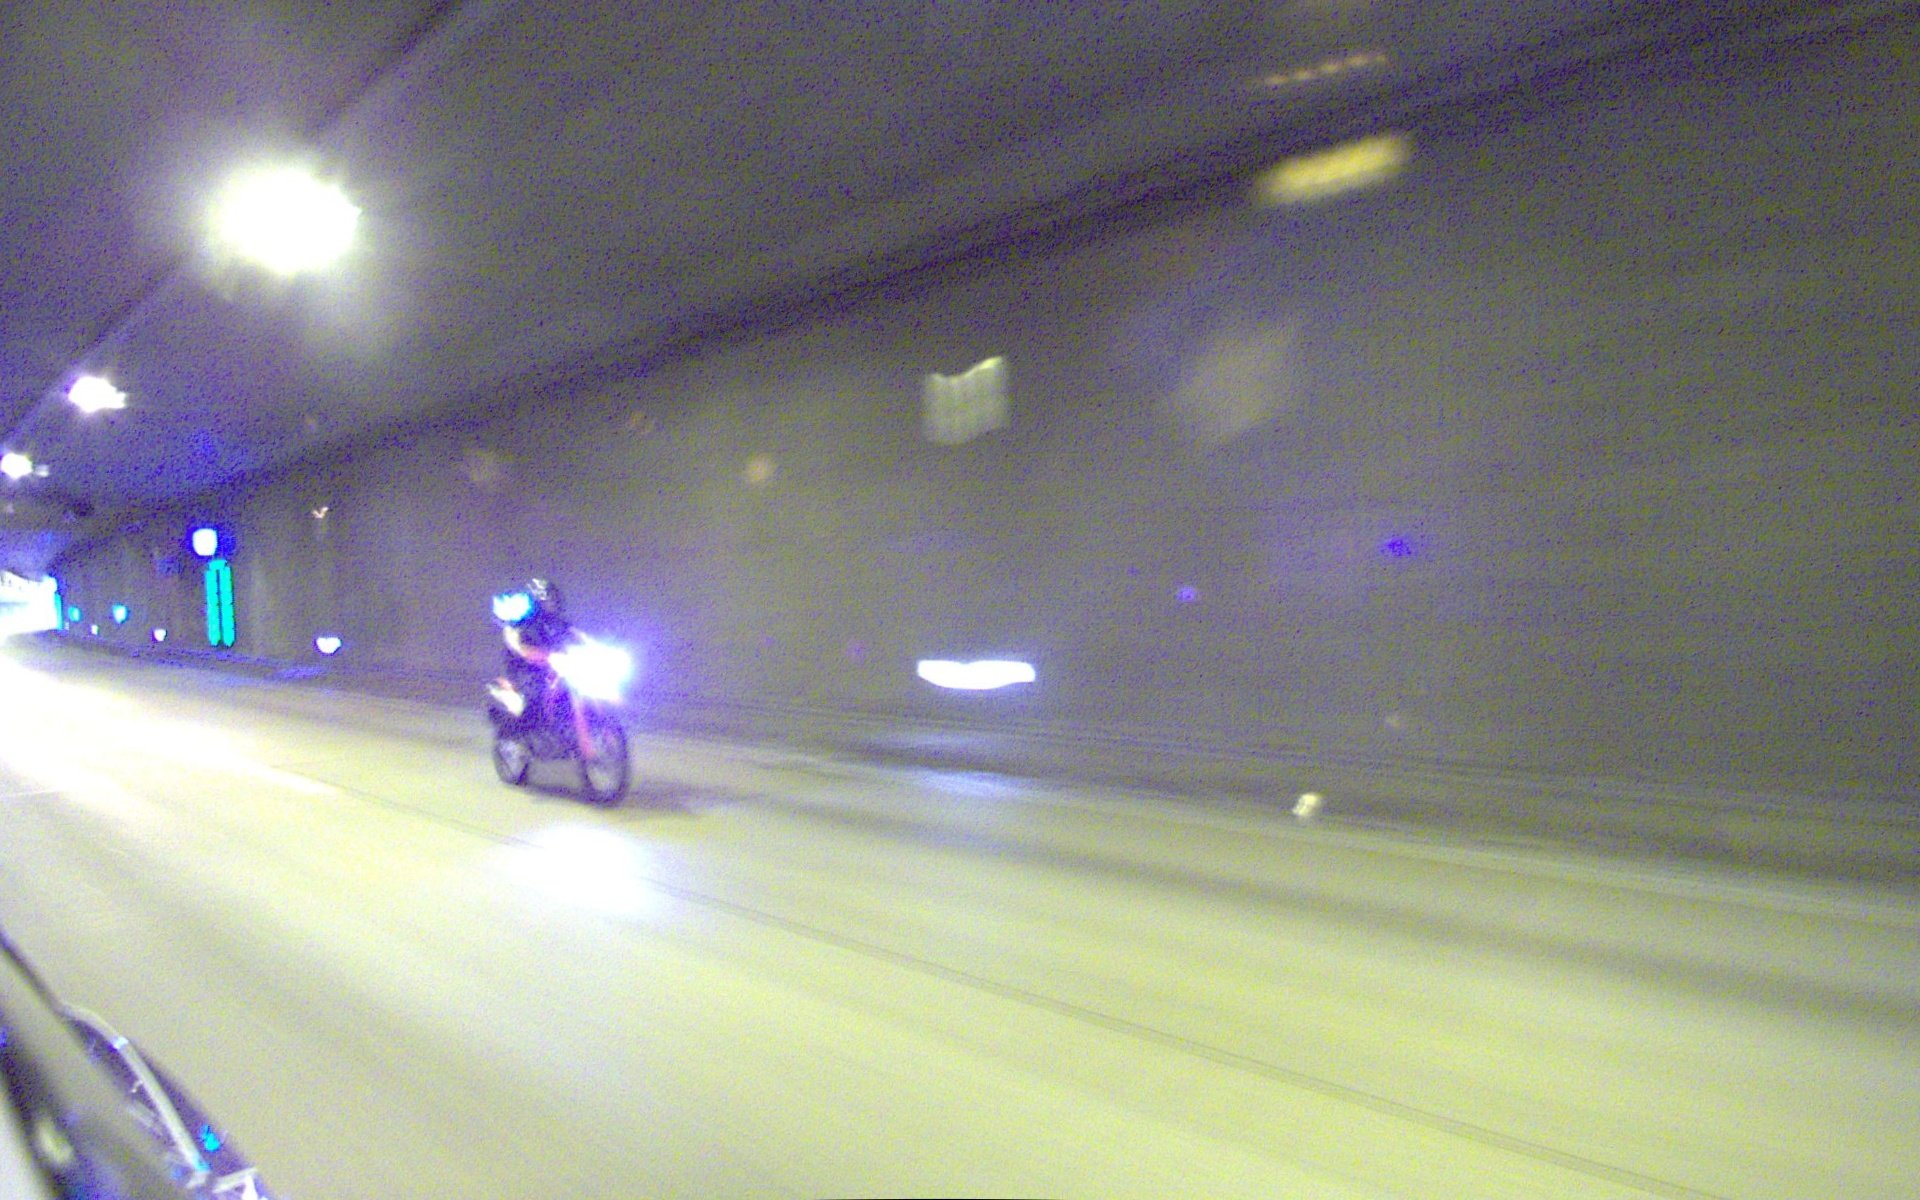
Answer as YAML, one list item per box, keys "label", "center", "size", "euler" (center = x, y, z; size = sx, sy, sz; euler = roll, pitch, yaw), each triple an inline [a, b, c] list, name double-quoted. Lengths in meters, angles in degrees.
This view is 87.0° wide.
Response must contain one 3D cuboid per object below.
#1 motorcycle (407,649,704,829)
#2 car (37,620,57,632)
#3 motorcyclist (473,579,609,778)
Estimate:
- label: "motorcycle"
  center: [-3.260, 1.004, 8.060]
  size: [2.421, 1.166, 1.044]
  euler: [-1, -1, 35]
- label: "car"
  center: [-149.382, 4.236, 165.576]
  size: [1.967, 1.812, 4.010]
  euler: [-1, 0, -35]
- label: "motorcyclist"
  center: [-3.369, 0.603, 8.143]
  size: [0.888, 1.500, 0.622]
  euler: [-1, -1, 34]
